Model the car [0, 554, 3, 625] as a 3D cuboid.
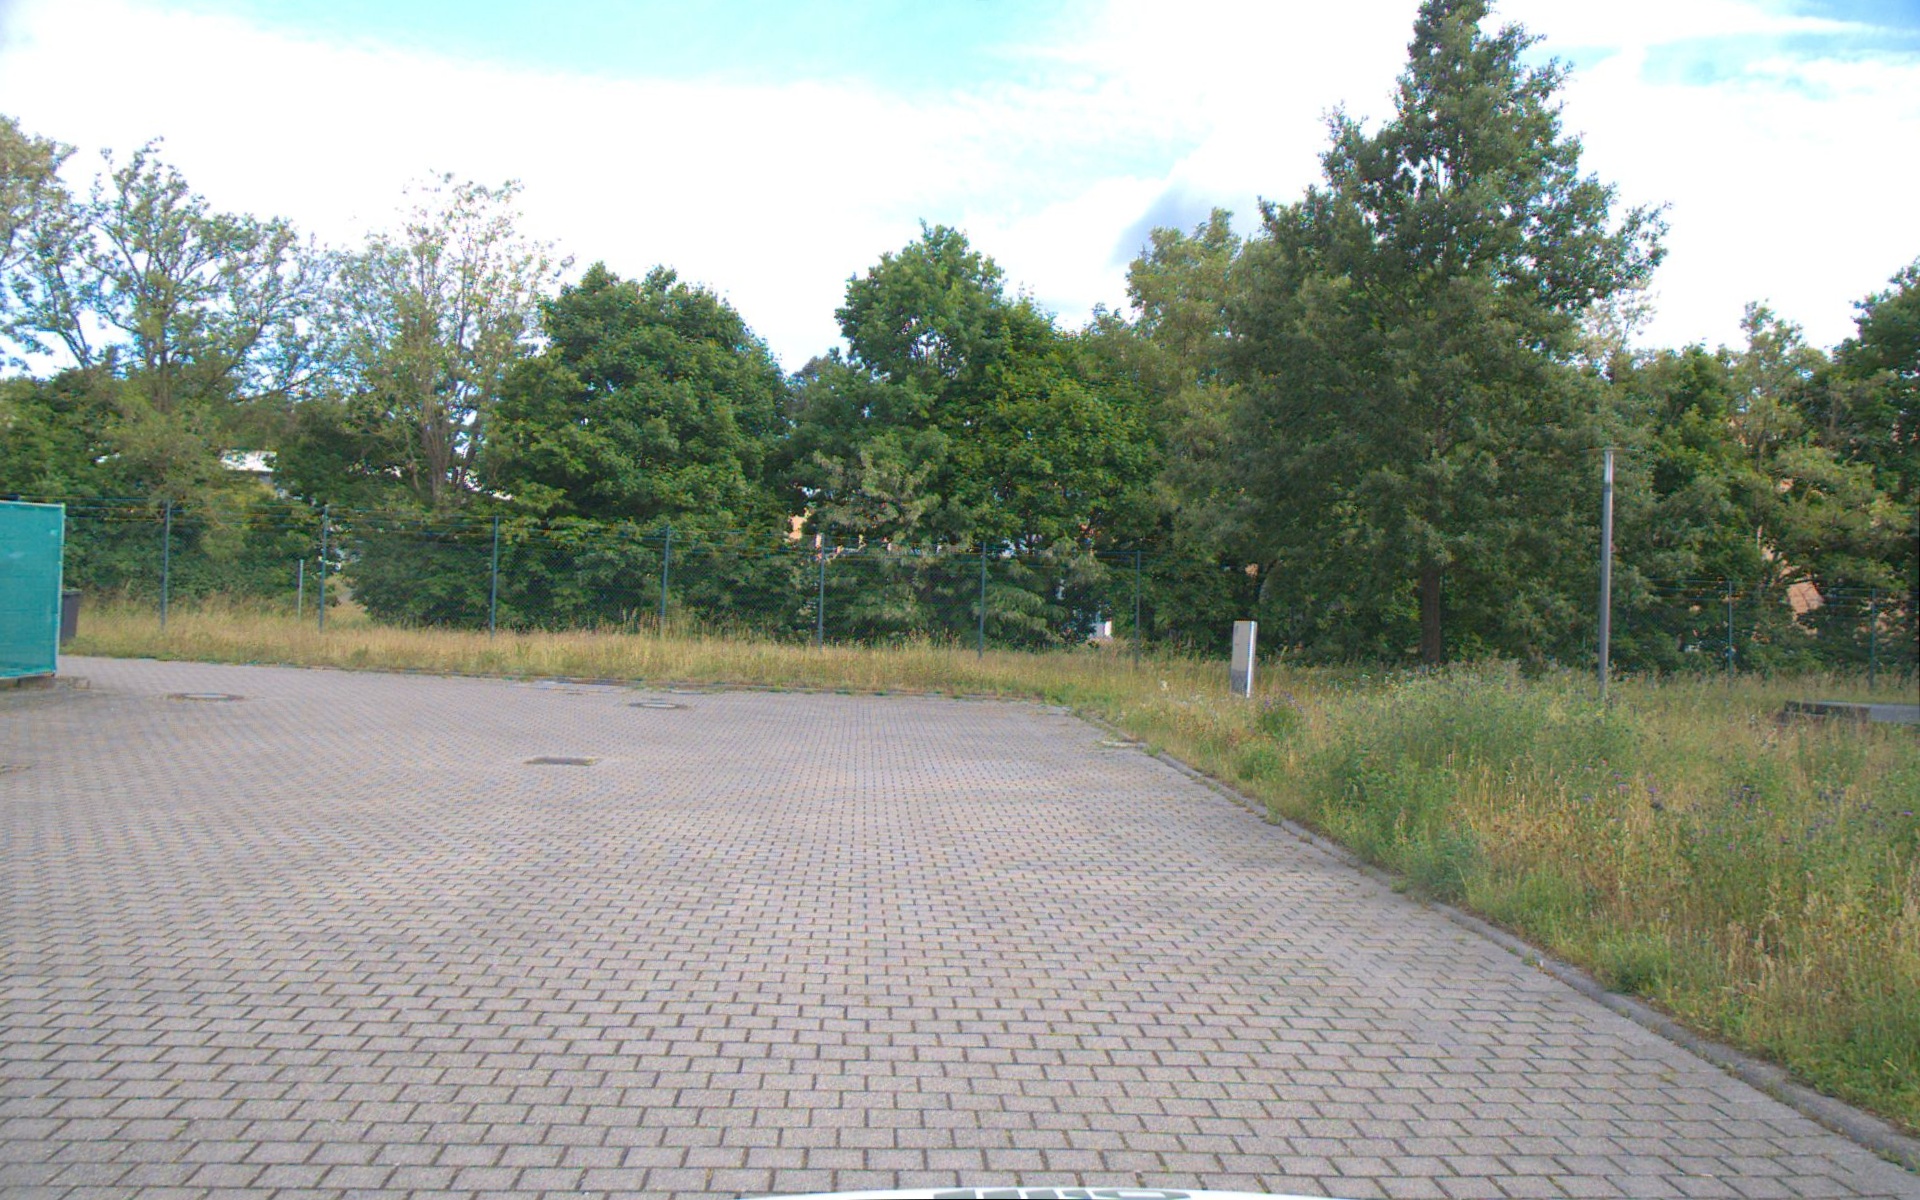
[{"bbox_3d":[-7.833,0.363,9.895,1.887,1.464,4.364,2,0,-5],"label":"car"}]
